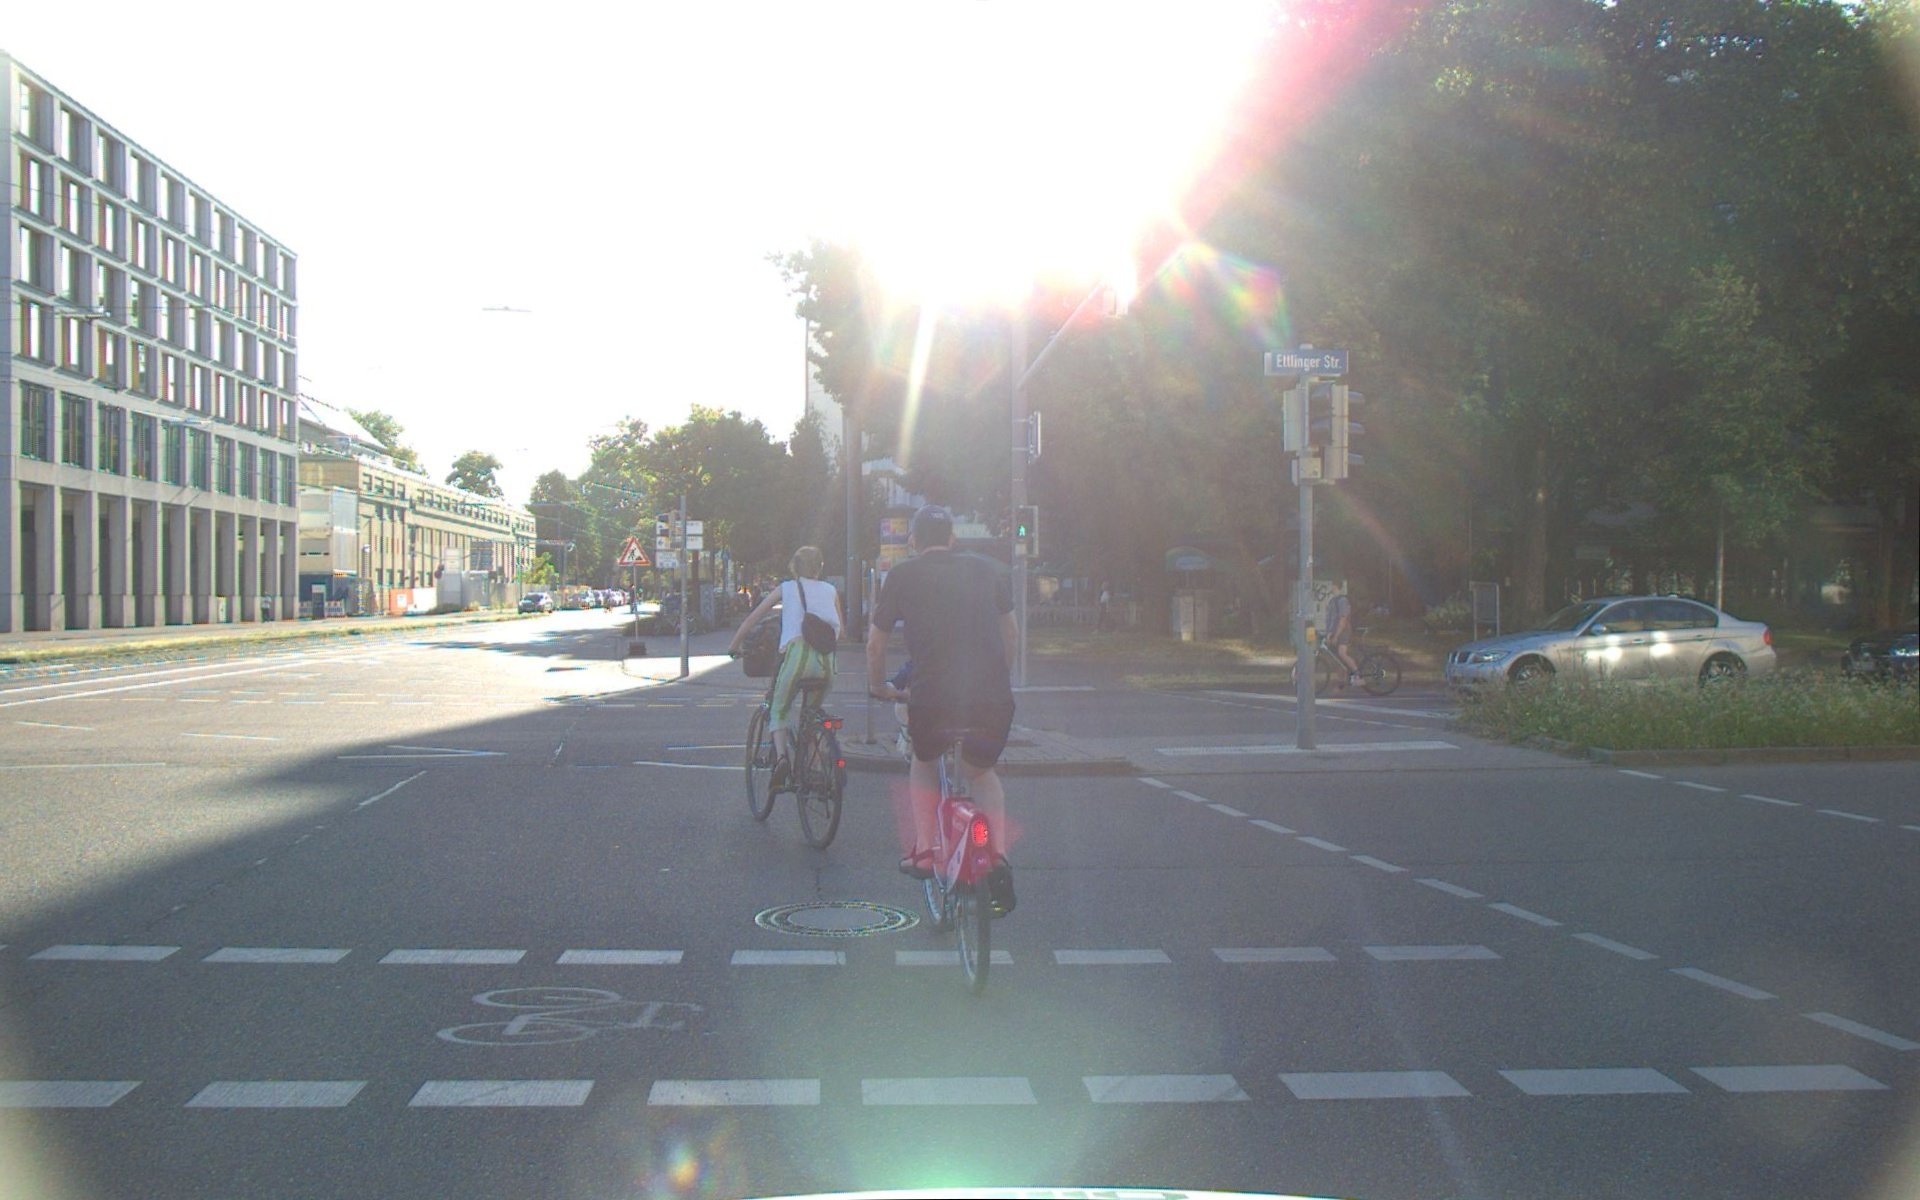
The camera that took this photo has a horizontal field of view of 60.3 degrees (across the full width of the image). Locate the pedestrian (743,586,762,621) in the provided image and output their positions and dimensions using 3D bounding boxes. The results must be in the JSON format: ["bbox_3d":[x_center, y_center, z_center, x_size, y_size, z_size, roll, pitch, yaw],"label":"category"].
[{"bbox_3d":[-10.719,0.164,85.462,0.772,1.771,0.888,-1,0,-24],"label":"pedestrian"}]

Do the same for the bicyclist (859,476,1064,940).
[{"bbox_3d":[-0.016,0.421,6.776,0.738,1.774,0.838,1,-1,-5],"label":"bicyclist"}]

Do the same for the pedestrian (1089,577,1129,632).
[{"bbox_3d":[4.879,0.148,54.128,1.185,1.771,0.895,-1,0,10],"label":"pedestrian"}]

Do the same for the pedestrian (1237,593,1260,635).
[{"bbox_3d":[9.570,0.453,54.907,0.585,1.363,0.733,-1,0,-2],"label":"pedestrian"}]

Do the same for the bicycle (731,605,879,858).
[{"bbox_3d":[-0.925,0.707,9.953,0.760,1.261,2.310,1,2,-5],"label":"bicycle"}]

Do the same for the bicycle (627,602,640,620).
[{"bbox_3d":[-21.486,0.746,108.852,0.648,1.176,1.807,-1,0,-5],"label":"bicycle"}]

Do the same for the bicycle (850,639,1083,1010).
[{"bbox_3d":[-0.040,0.823,6.880,0.760,1.261,2.018,1,0,-5],"label":"bicycle"}]

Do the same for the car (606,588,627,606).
[{"bbox_3d":[-37.410,-0.288,180.362,1.956,1.914,3.993,0,0,-8],"label":"car"}]

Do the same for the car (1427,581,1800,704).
[{"bbox_3d":[9.045,0.561,23.118,4.446,1.588,1.998,-1,0,-5],"label":"car"}]

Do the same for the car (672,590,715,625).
[{"bbox_3d":[-11.388,0.312,70.868,1.665,1.453,3.993,0,0,-8],"label":"car"}]

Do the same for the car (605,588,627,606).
[{"bbox_3d":[-36.340,-0.326,174.708,1.956,1.914,3.993,0,0,-8],"label":"car"}]

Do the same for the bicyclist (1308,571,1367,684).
[{"bbox_3d":[5.829,0.426,25.600,0.818,1.708,0.784,-1,-1,9],"label":"bicyclist"}]

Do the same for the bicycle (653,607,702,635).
[{"bbox_3d":[-9.421,0.698,55.131,1.573,0.904,0.767,-1,0,-14],"label":"bicycle"}]

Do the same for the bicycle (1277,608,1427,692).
[{"bbox_3d":[6.027,0.764,25.564,2.193,1.261,0.779,-1,-1,9],"label":"bicycle"}]

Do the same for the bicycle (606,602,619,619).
[{"bbox_3d":[-24.042,0.708,114.436,0.648,1.176,1.807,-1,0,-5],"label":"bicycle"}]

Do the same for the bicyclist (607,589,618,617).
[{"bbox_3d":[-24.025,0.212,114.272,0.623,1.885,0.782,0,0,-5],"label":"bicyclist"}]

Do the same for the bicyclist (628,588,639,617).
[{"bbox_3d":[-21.478,0.167,108.865,0.651,1.885,0.782,0,0,-5],"label":"bicyclist"}]

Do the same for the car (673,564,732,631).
[{"bbox_3d":[-11.969,-0.135,77.175,2.543,3.004,5.080,0,0,-8],"label":"car"}]

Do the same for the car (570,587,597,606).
[{"bbox_3d":[-33.184,-0.325,145.845,1.956,1.668,3.993,0,0,-8],"label":"car"}]

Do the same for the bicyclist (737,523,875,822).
[{"bbox_3d":[-0.929,0.412,10.025,0.758,1.720,0.924,1,1,-5],"label":"bicyclist"}]

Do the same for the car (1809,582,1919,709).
[{"bbox_3d":[14.694,0.590,23.340,4.446,1.705,1.998,-1,0,-5],"label":"car"}]

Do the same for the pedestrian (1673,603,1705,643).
[{"bbox_3d":[24.940,0.778,56.562,0.699,1.363,0.829,-1,0,-2],"label":"pedestrian"}]

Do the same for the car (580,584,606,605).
[{"bbox_3d":[-34.272,-0.492,154.568,1.956,1.914,3.993,0,0,-8],"label":"car"}]

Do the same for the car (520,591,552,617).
[{"bbox_3d":[-33.391,0.327,130.324,1.956,2.004,3.993,0,0,-8],"label":"car"}]

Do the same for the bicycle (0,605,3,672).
[{"bbox_3d":[-18.905,0.732,30.827,1.967,1.252,0.846,-1,0,24],"label":"bicycle"}]
